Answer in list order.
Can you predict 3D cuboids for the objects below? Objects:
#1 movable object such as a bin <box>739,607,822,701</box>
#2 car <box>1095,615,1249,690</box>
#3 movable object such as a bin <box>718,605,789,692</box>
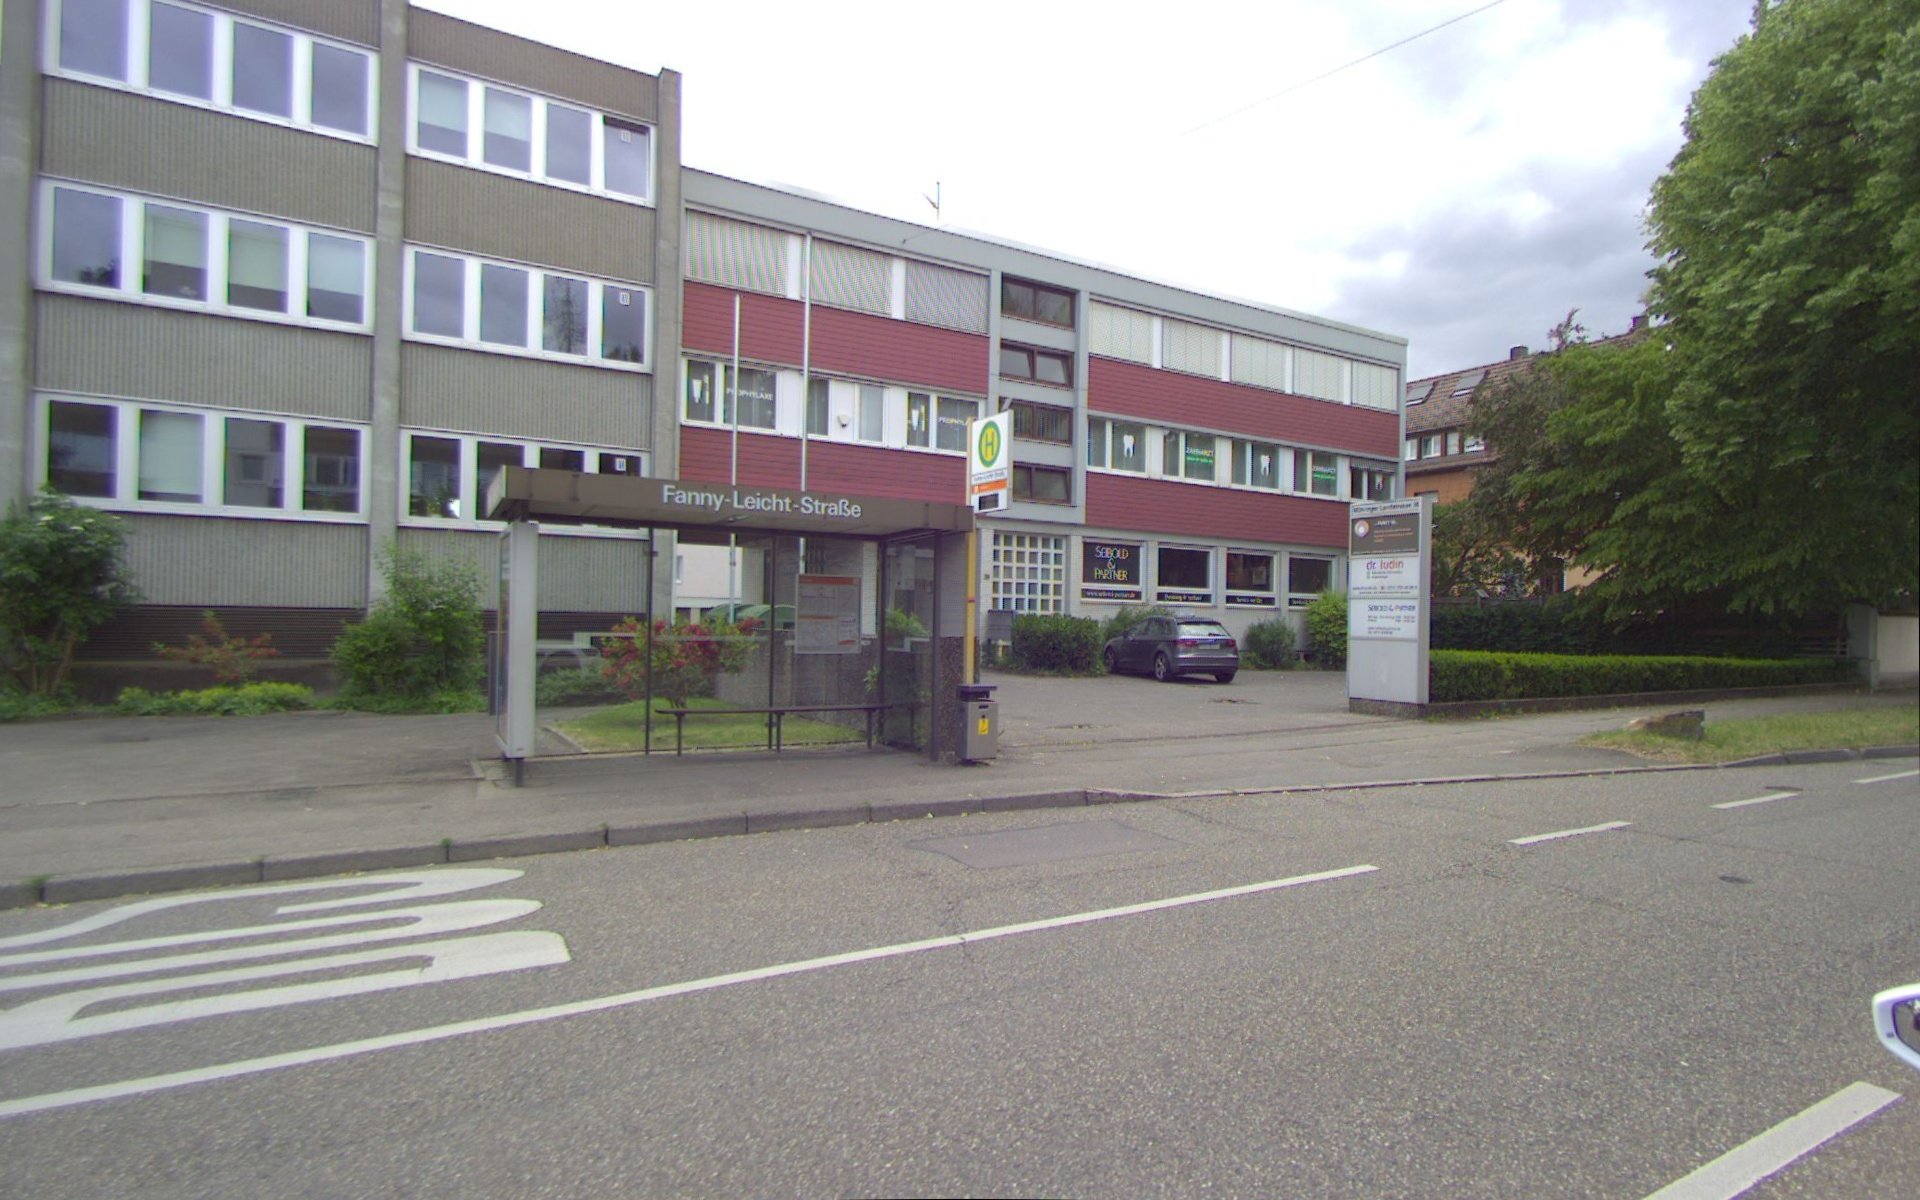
[{"bbox_3d":[-3.016,0.878,16.827,0.981,1.484,1.292,1,0,-29],"label":"movable object such as a bin"},{"bbox_3d":[4.766,1.147,23.227,1.782,1.499,4.138,1,0,-15],"label":"car"},{"bbox_3d":[-3.784,0.861,18.338,0.874,1.484,1.355,1,0,-29],"label":"movable object such as a bin"}]
